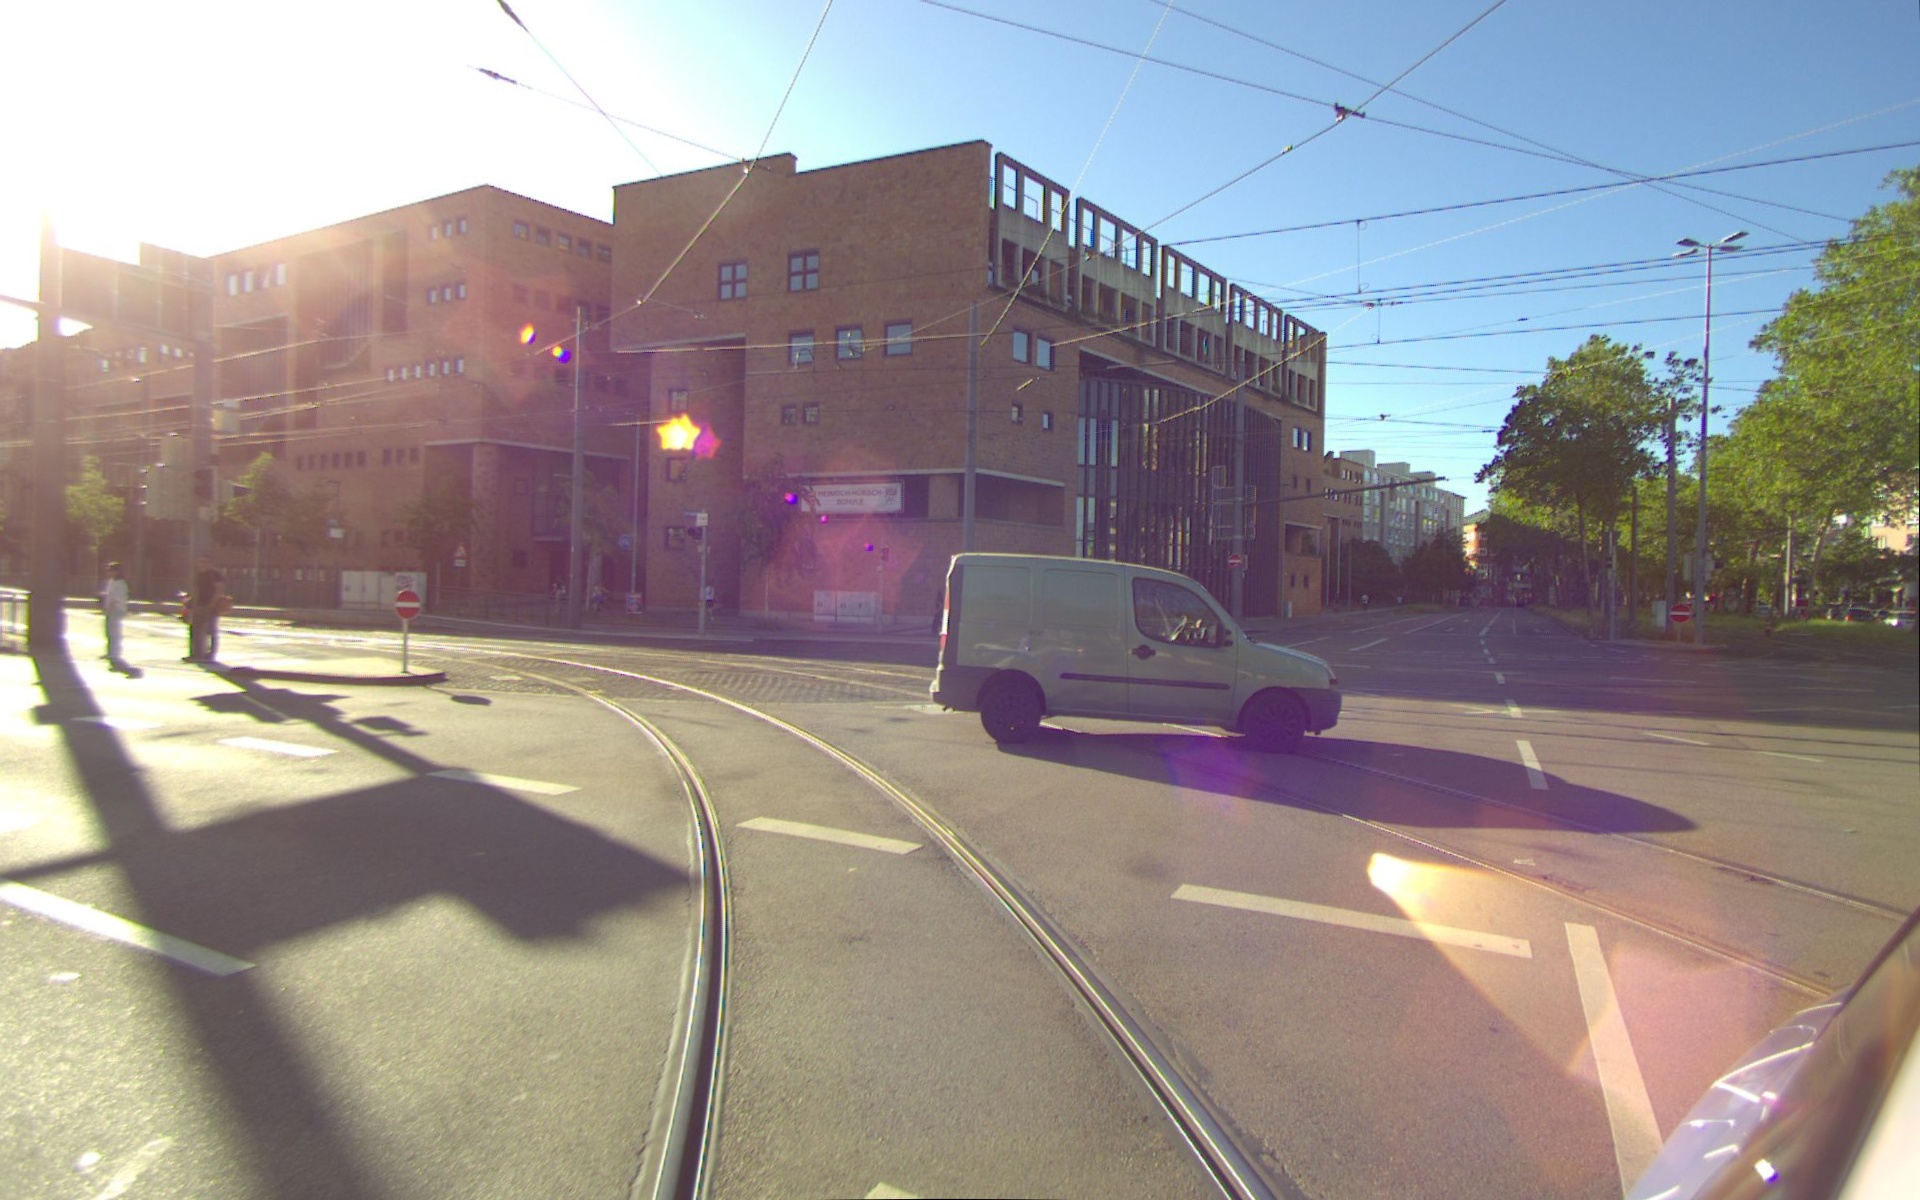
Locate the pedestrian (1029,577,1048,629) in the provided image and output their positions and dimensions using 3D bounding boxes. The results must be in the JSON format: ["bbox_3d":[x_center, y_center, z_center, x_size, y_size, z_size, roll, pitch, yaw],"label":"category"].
[{"bbox_3d":[2.781,0.102,35.885,0.542,1.808,0.569,0,0,20],"label":"pedestrian"}]

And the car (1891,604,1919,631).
[{"bbox_3d":[53.054,0.982,55.907,1.653,1.406,3.498,2,1,30],"label":"car"}]

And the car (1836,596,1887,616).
[{"bbox_3d":[71.814,0.459,80.690,1.846,1.493,3.947,1,0,23],"label":"car"}]

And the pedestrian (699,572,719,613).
[{"bbox_3d":[-11.174,-0.326,45.011,0.569,1.808,0.543,3,1,31],"label":"pedestrian"}]

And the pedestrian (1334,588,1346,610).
[{"bbox_3d":[29.041,-0.075,77.305,0.801,1.626,0.684,1,0,16],"label":"pedestrian"}]

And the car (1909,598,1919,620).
[{"bbox_3d":[63.803,0.605,65.748,1.846,1.493,3.947,1,0,23],"label":"car"}]

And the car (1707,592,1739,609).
[{"bbox_3d":[84.091,0.089,111.562,1.803,1.792,4.280,1,-1,23],"label":"car"}]

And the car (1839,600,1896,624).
[{"bbox_3d":[58.731,0.738,65.576,1.850,1.493,3.938,1,0,28],"label":"car"}]

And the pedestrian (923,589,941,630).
[{"bbox_3d":[-1.046,0.352,37.699,0.564,1.495,0.547,1,0,10],"label":"pedestrian"}]

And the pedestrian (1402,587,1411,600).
[{"bbox_3d":[47.612,-0.727,107.839,0.805,1.401,0.680,1,0,31],"label":"pedestrian"}]

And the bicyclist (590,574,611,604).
[{"bbox_3d":[-16.654,-0.503,46.866,0.647,1.356,0.641,0,0,29],"label":"bicyclist"}]

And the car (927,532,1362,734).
[{"bbox_3d":[1.737,0.289,10.401,4.031,1.858,1.845,-1,2,2],"label":"car"}]

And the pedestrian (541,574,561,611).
[{"bbox_3d":[-20.111,-0.381,49.788,0.683,1.808,0.635,0,1,31],"label":"pedestrian"}]

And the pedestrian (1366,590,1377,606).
[{"bbox_3d":[36.838,-0.204,90.641,0.805,1.401,0.680,1,0,31],"label":"pedestrian"}]

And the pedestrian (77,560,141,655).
[{"bbox_3d":[-14.589,0.122,17.350,0.637,1.597,0.579,0,0,15],"label":"pedestrian"}]

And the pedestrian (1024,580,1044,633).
[{"bbox_3d":[2.560,0.212,34.853,0.542,1.808,0.569,0,0,20],"label":"pedestrian"}]

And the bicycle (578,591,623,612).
[{"bbox_3d":[-16.661,0.065,46.872,2.325,0.916,0.643,0,0,30],"label":"bicycle"}]

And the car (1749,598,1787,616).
[{"bbox_3d":[70.352,0.592,88.145,1.683,1.493,3.947,0,0,25],"label":"car"}]

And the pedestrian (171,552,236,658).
[{"bbox_3d":[-12.790,0.080,17.116,0.589,1.749,0.716,0,0,29],"label":"pedestrian"}]

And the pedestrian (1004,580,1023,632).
[{"bbox_3d":[1.856,0.194,35.115,0.542,1.808,0.569,0,0,20],"label":"pedestrian"}]
